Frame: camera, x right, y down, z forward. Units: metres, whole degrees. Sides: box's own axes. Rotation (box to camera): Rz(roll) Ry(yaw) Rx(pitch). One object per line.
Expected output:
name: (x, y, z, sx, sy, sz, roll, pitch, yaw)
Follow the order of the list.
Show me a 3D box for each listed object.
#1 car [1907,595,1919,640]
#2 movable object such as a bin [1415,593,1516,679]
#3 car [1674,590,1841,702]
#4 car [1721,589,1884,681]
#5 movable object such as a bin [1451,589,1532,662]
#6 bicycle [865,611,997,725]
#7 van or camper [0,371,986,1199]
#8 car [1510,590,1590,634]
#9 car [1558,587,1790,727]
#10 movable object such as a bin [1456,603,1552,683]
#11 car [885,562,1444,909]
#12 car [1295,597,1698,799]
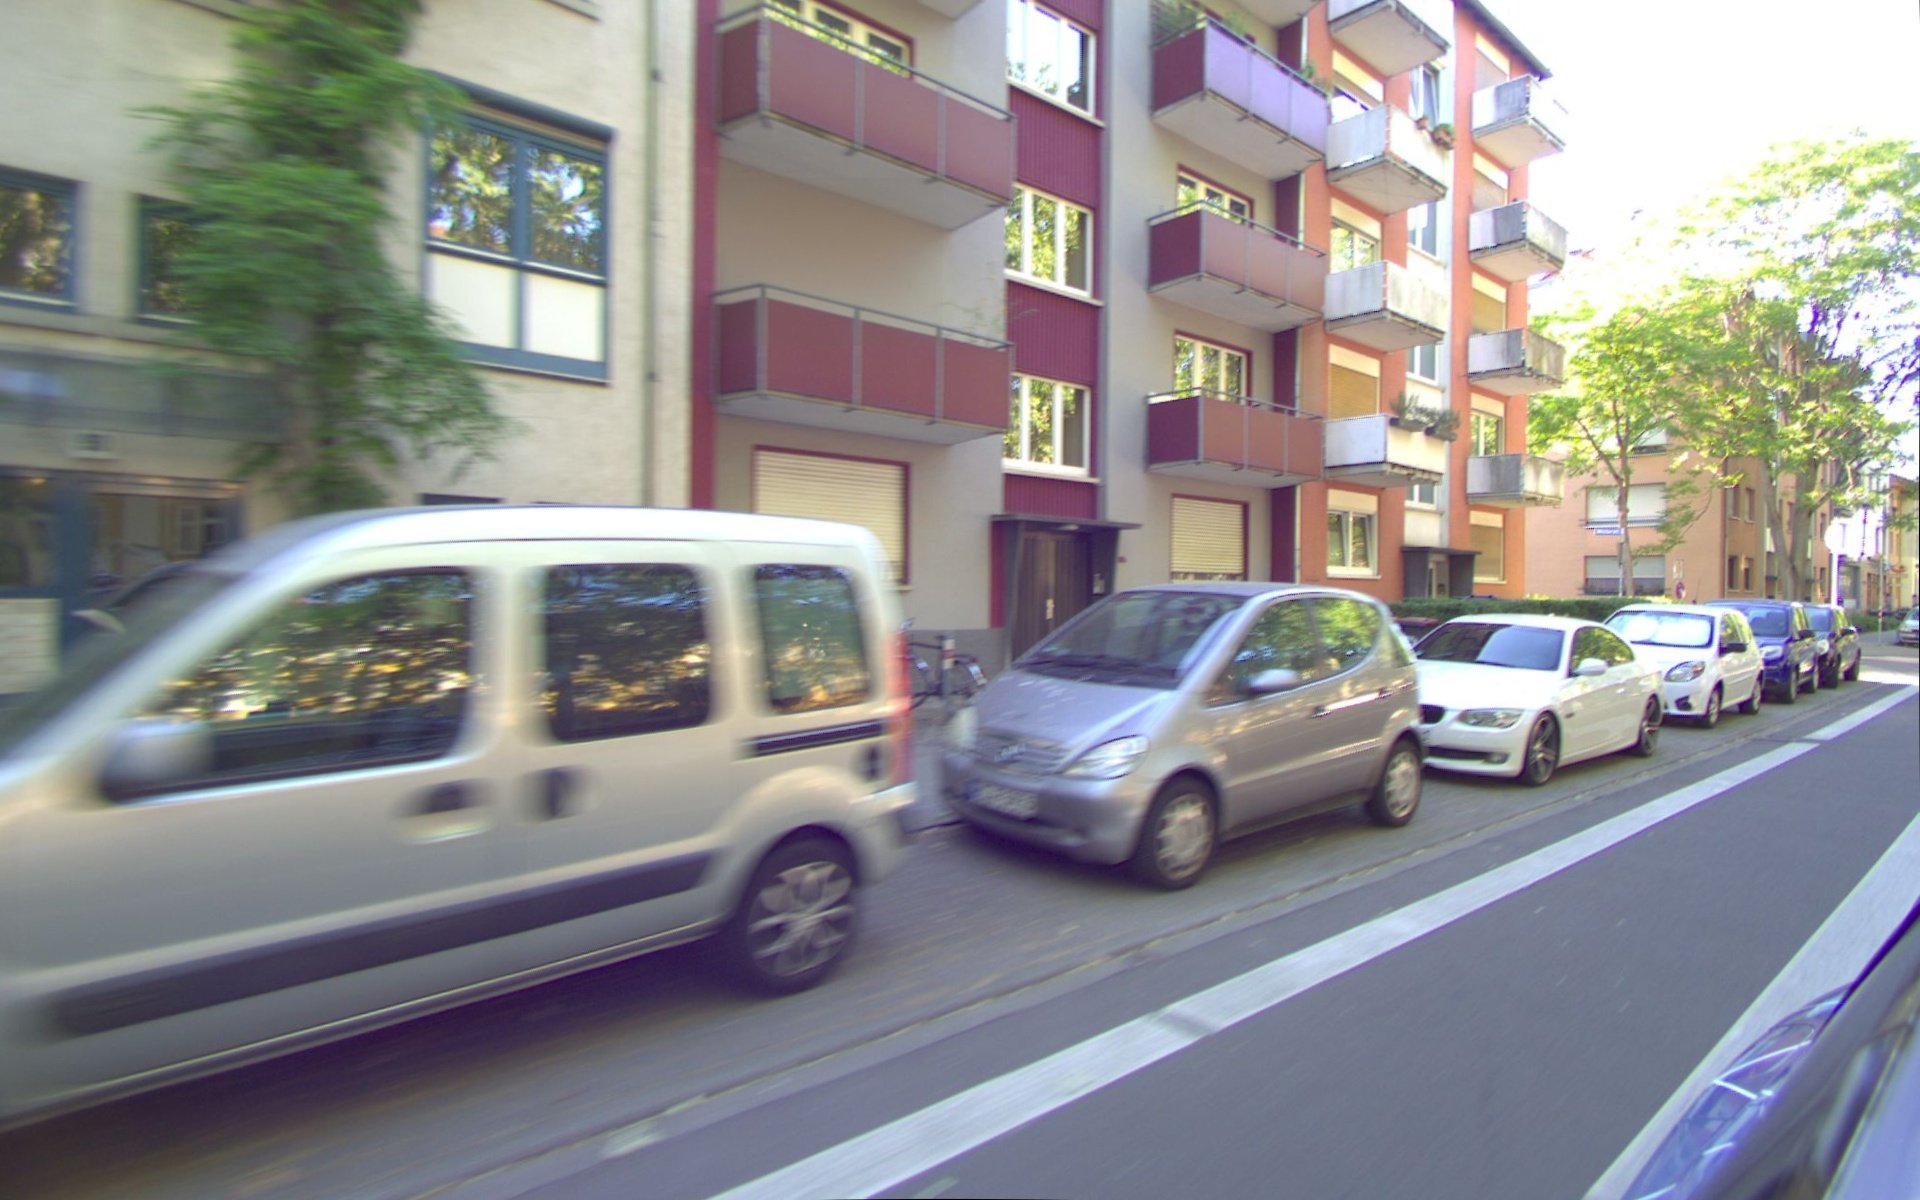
car: (34.174, 0.609, 34.990, 3.930, 1.491, 1.709, 0, 1, -41)
movable object such as a bin: (8.436, 0.565, 16.876, 1.652, 1.344, 0.925, 0, 0, -40)
car: (12.975, 0.656, 16.396, 3.688, 1.610, 1.528, -1, 0, -42)
car: (15.888, 0.584, 19.026, 3.848, 1.480, 1.737, 0, 3, -41)
movable object such as a bin: (10.201, 0.475, 19.439, 0.761, 1.344, 1.155, 0, 0, -40)
bicycle: (-0.366, 0.699, 11.133, 0.467, 1.042, 1.901, 0, 2, -35)
van or camper: (-1.961, 0.435, 3.424, 4.141, 1.906, 1.670, 0, 2, -44)
car: (22.174, 0.413, 38.209, 1.703, 1.560, 3.978, 1, 1, 17)
car: (9.603, 0.640, 13.508, 3.767, 1.545, 1.595, -1, 3, -40)
movable object such as a bin: (9.724, 0.734, 18.072, 1.691, 1.344, 0.969, 0, 0, -40)
car: (1.444, 0.609, 6.482, 3.525, 1.600, 1.663, 0, 2, -40)
car: (5.252, 0.729, 9.607, 4.654, 1.416, 1.664, 0, 2, -39)
